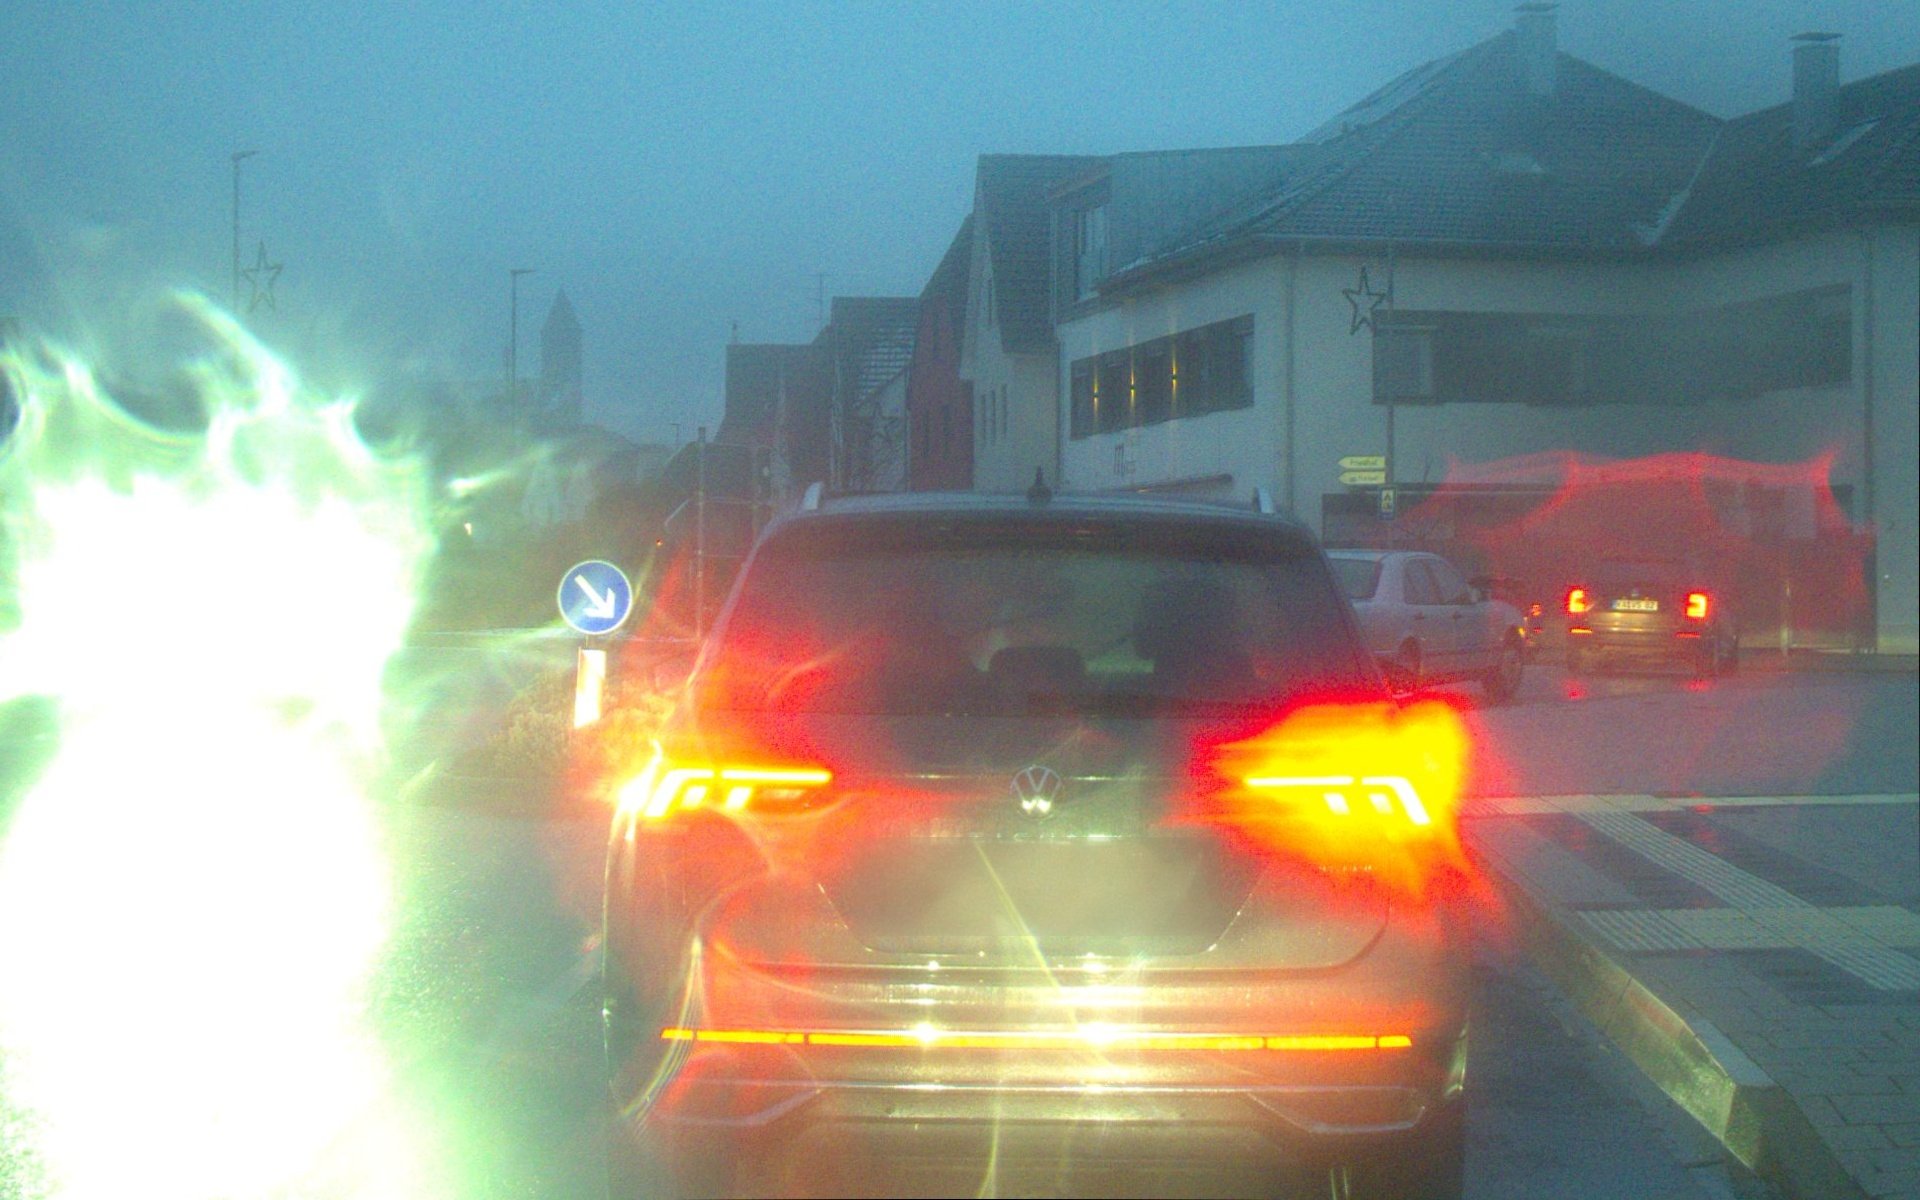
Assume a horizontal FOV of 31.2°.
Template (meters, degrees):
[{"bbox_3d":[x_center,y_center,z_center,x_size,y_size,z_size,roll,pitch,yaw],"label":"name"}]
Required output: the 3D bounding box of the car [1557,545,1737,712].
[{"bbox_3d":[8.322,0.302,41.424,1.803,1.855,3.997,-1,1,16],"label":"car"}]

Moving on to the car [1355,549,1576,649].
[{"bbox_3d":[7.678,-0.034,52.578,1.645,1.460,4.001,1,1,-19],"label":"car"}]

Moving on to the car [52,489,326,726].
[{"bbox_3d":[-5.692,0.005,25.759,1.778,1.616,3.959,1,1,-10],"label":"car"}]

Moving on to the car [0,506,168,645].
[{"bbox_3d":[-12.406,-0.351,46.839,1.719,1.806,4.136,0,1,-35],"label":"car"}]

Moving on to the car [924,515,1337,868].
[{"bbox_3d":[0.723,0.363,16.964,1.777,1.533,3.932,0,1,-1],"label":"car"}]

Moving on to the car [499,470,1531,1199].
[{"bbox_3d":[0.073,0.541,8.420,1.915,1.609,3.950,1,1,-1],"label":"car"}]

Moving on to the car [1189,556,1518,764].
[{"bbox_3d":[3.702,0.507,31.752,1.824,1.622,3.995,-1,3,25],"label":"car"}]
